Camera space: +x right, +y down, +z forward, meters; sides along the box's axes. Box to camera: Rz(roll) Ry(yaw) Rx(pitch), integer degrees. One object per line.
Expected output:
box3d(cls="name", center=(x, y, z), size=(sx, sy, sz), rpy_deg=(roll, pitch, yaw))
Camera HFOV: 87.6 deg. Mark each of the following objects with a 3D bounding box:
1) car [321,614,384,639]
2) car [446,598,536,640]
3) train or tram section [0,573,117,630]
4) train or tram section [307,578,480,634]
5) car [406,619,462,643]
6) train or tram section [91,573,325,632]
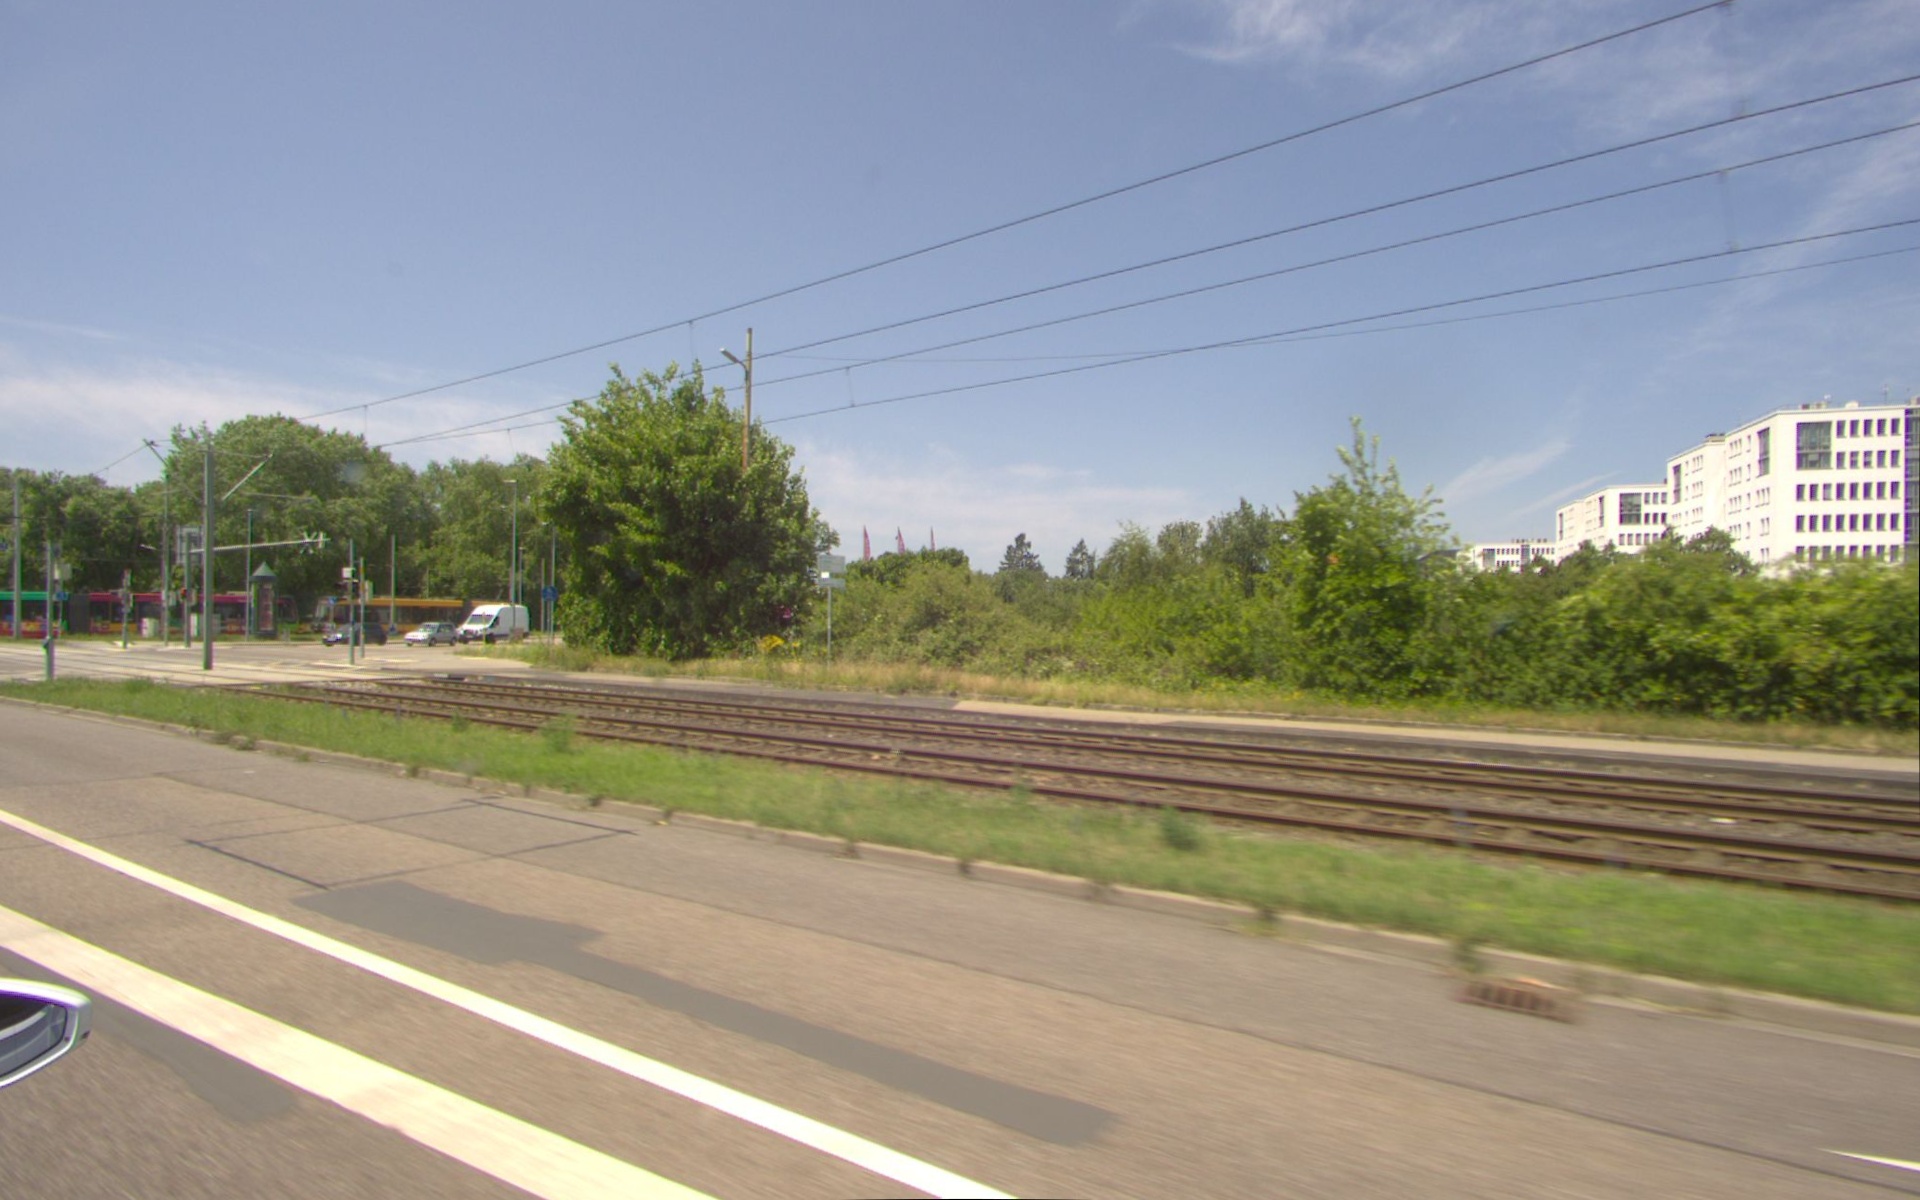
box3d(cls="car", center=(-37.217, 1.592, 61.400), size=(1.608, 1.482, 3.509), rpy_deg=(0, -1, 3))
box3d(cls="car", center=(-33.315, 1.386, 71.507), size=(2.664, 2.838, 7.286), rpy_deg=(1, -1, 3))
box3d(cls="train or tram section", center=(-68.046, 0.154, 70.798), size=(13.201, 3.857, 2.925), rpy_deg=(0, -3, -9))
box3d(cls="train or tram section", center=(-48.051, 0.712, 85.833), size=(2.876, 3.966, 13.933), rpy_deg=(-2, -4, 24))
box3d(cls="car", center=(-33.559, 1.980, 63.979), size=(1.608, 1.482, 3.807), rpy_deg=(1, -1, 0))
box3d(cls="train or tram section", center=(-56.262, 0.332, 75.689), size=(13.868, 3.966, 2.906), rpy_deg=(2, -4, -36))
